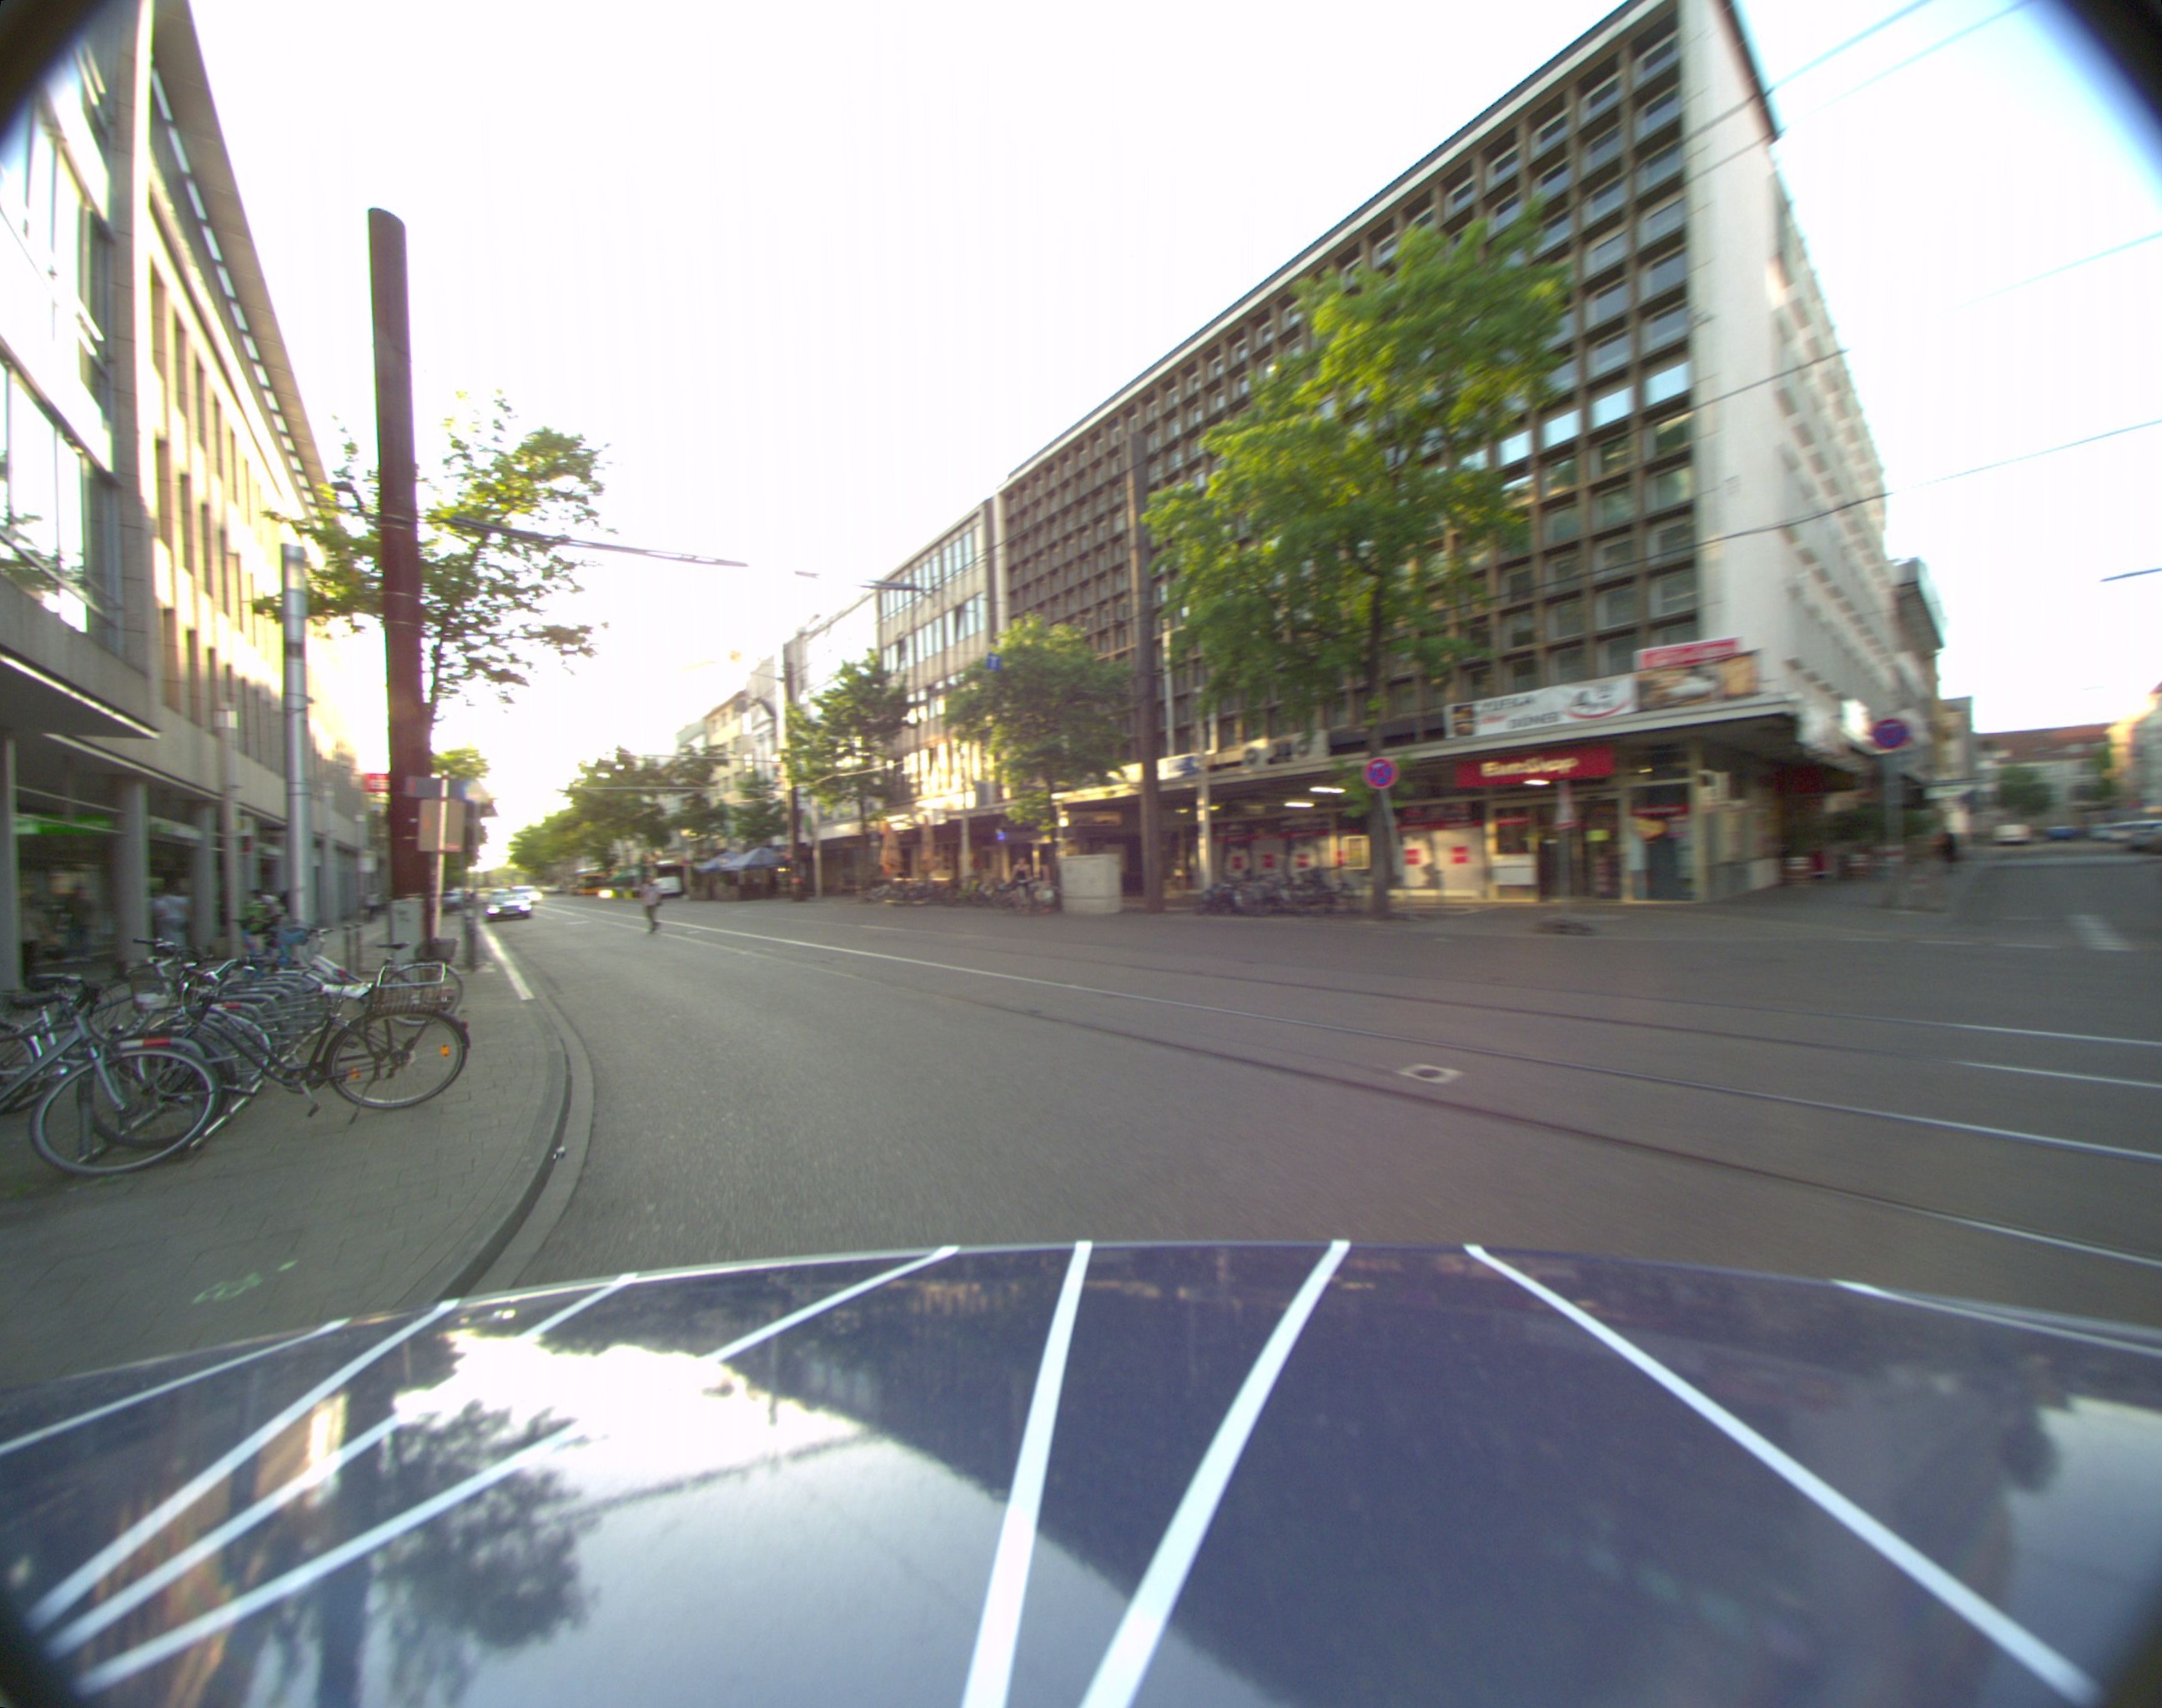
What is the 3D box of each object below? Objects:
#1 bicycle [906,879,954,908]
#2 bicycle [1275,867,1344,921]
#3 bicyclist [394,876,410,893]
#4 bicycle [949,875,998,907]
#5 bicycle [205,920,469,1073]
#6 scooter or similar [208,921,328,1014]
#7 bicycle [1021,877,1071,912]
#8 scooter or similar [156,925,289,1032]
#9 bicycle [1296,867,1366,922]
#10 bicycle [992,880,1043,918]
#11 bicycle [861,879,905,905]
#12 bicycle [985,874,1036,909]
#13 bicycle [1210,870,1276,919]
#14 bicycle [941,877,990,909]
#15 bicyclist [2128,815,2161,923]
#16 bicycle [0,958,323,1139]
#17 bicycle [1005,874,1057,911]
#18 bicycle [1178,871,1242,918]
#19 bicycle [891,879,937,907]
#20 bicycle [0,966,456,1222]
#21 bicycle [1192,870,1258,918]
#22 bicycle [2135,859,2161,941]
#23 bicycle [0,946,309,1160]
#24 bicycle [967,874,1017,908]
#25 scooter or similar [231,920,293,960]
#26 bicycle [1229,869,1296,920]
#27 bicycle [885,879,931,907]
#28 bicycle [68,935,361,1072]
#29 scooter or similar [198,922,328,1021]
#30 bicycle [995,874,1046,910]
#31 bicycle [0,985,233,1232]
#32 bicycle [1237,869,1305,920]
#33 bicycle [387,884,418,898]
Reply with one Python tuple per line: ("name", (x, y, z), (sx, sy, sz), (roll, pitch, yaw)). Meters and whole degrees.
("bicycle", (-5.910, 1.535, 29.796), (1.781, 0.984, 0.488), (-4, 0, -44))
("bicycle", (5.136, 0.878, 17.015), (1.780, 1.039, 0.488), (-4, 0, -38))
("bicyclist", (-57.012, 2.556, 63.779), (0.899, 1.407, 0.759), (-3, 2, -39))
("bicycle", (-4.000, 1.374, 28.405), (1.781, 1.065, 0.488), (-5, 1, -44))
("bicycle", (-7.763, 1.417, 8.054), (1.925, 1.324, 0.724), (1, -3, -43))
("scooter or similar", (-12.157, 1.666, 11.393), (0.496, 1.243, 1.118), (-3, -2, 21))
("bicycle", (-1.099, 1.253, 23.525), (0.490, 1.039, 1.773), (-3, 0, -41))
("scooter or similar", (-11.287, 1.600, 10.033), (0.393, 1.243, 1.191), (-2, -1, 0))
("bicycle", (5.468, 0.862, 16.539), (1.780, 1.039, 0.488), (-4, 0, -38))
("bicycle", (-1.882, 1.322, 22.322), (0.490, 1.039, 1.773), (-3, 0, -41))
("bicycle", (-8.730, 1.666, 33.560), (1.779, 0.960, 0.488), (-4, 2, -22))
("bicycle", (-2.454, 1.309, 26.499), (1.781, 1.065, 0.488), (-5, 1, -44))
("bicycle", (3.951, 0.967, 18.469), (1.780, 1.039, 0.488), (-4, 0, -38))
("bicycle", (-4.368, 1.480, 28.843), (1.781, 1.065, 0.488), (-5, 1, -44))
("bicyclist", (15.533, 0.198, 10.608), (0.858, 1.493, 0.998), (-1, 0, -33))
("bicycle", (-7.271, 1.444, 5.908), (1.925, 1.071, 0.761), (1, -3, -43))
("bicycle", (-1.672, 1.278, 25.594), (1.781, 1.065, 0.488), (-5, 1, -44))
("bicycle", (3.295, 1.014, 19.301), (1.780, 1.039, 0.488), (-4, 0, -38))
("bicycle", (-6.783, 1.578, 30.901), (1.781, 0.984, 0.488), (-4, 0, -44))
("bicycle", (-5.155, 1.370, 4.783), (1.862, 1.102, 0.665), (0, -2, -41))
("bicycle", (3.597, 0.978, 18.915), (1.780, 1.039, 0.488), (-4, 0, -38))
("bicycle", (15.538, 0.620, 10.602), (2.117, 1.067, 0.816), (-1, -1, -32))
("bicycle", (-6.812, 1.341, 5.325), (1.925, 1.215, 0.761), (1, -3, -43))
("bicycle", (-3.189, 1.323, 27.469), (1.781, 1.065, 0.488), (-5, 1, -44))
("scooter or similar", (-21.005, 2.185, 19.502), (0.837, 0.879, 0.685), (-4, 1, -24))
("bicycle", (4.328, 0.936, 18.032), (1.780, 1.039, 0.488), (-4, 0, -38))
("bicycle", (-7.119, 1.594, 31.307), (1.781, 0.984, 0.488), (-4, 0, -44))
("bicycle", (-9.132, 1.523, 8.171), (2.007, 1.148, 0.724), (1, -3, -43))
("scooter or similar", (-11.603, 1.637, 10.814), (0.392, 1.243, 1.193), (-3, -2, 22))
("bicycle", (-2.071, 1.301, 26.109), (1.781, 1.065, 0.488), (-5, 1, -44))
("bicycle", (-5.847, 1.367, 3.939), (1.862, 1.102, 0.665), (0, -2, -41))
("bicycle", (4.477, 0.935, 17.842), (1.780, 1.039, 0.488), (-4, 0, -38))
("bicycle", (-56.973, 3.118, 63.812), (1.869, 1.067, 0.731), (-3, 2, -39))
